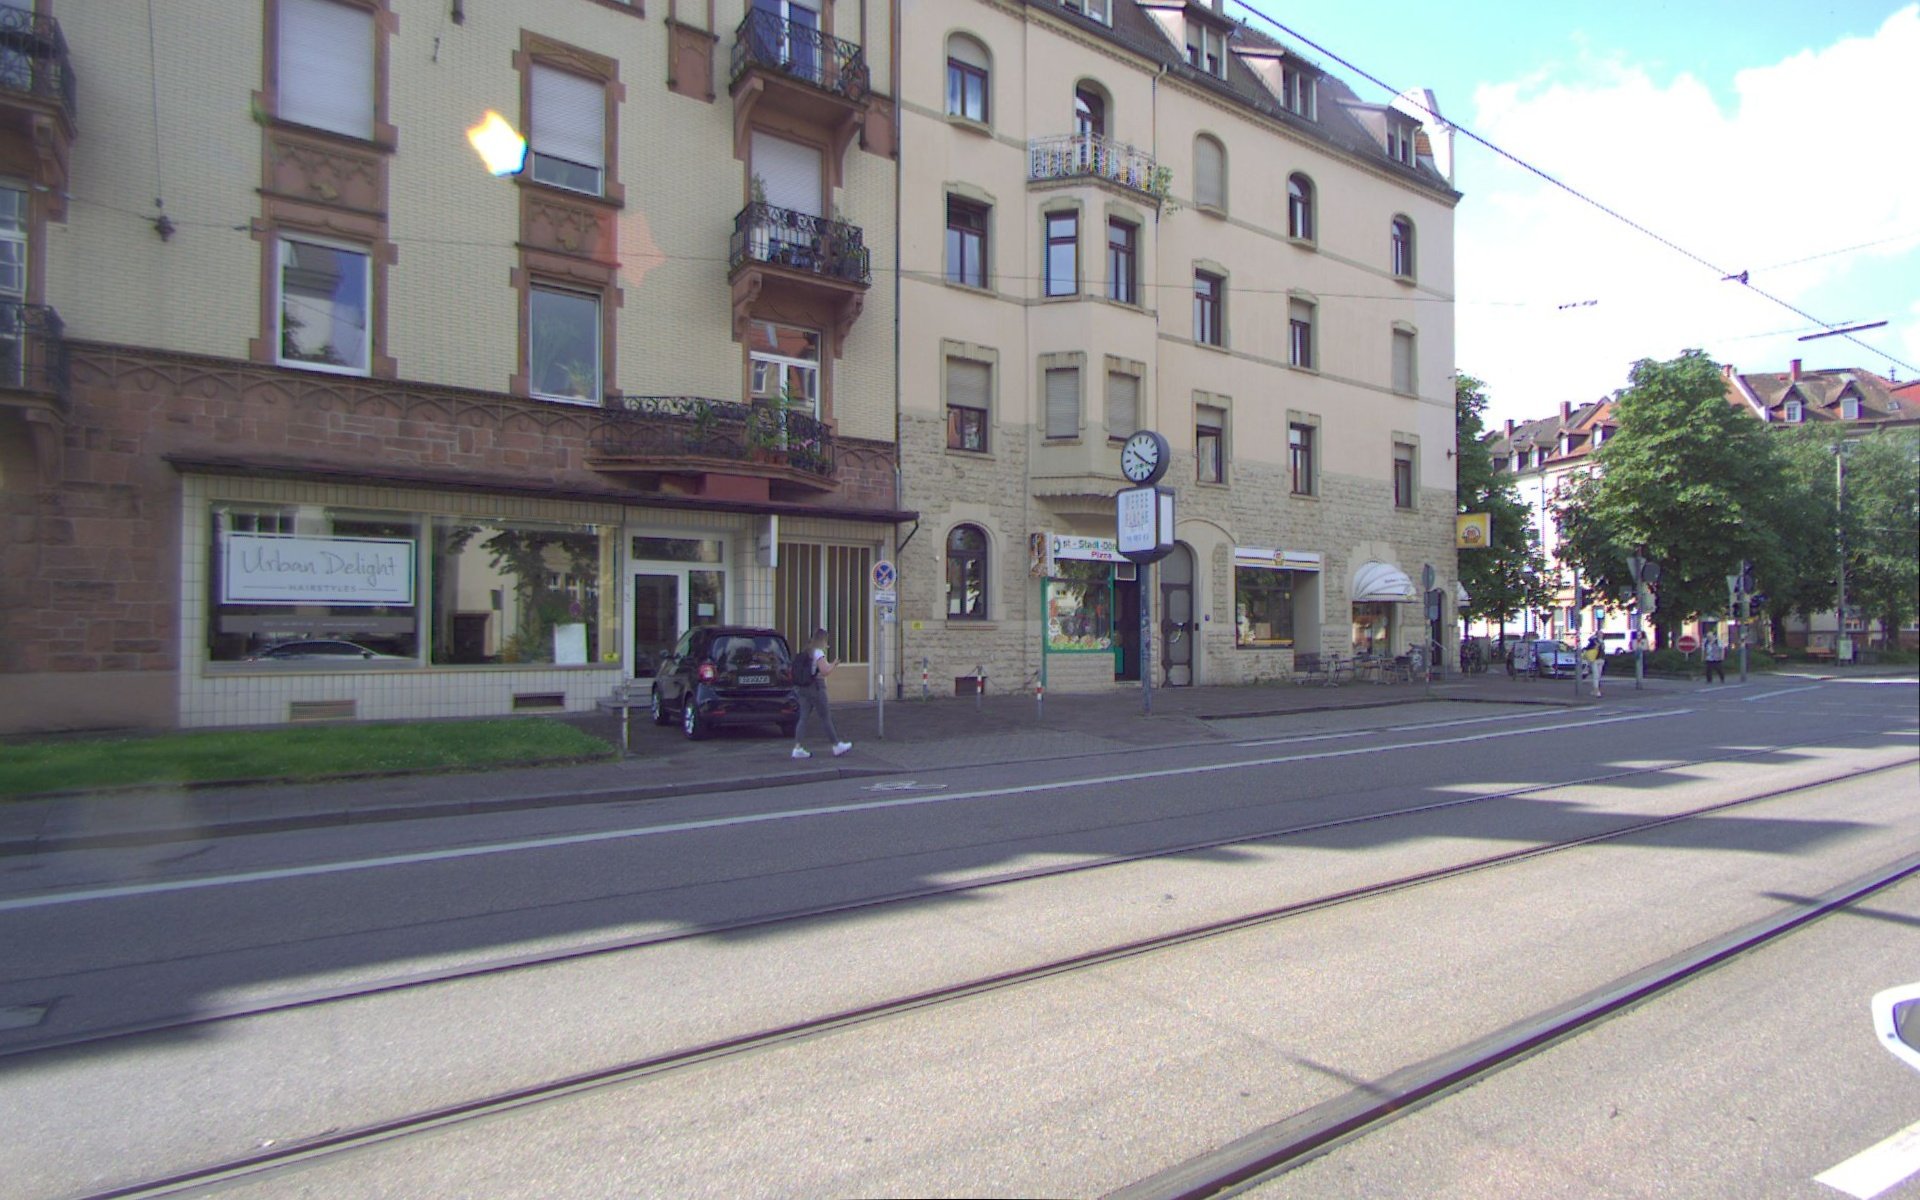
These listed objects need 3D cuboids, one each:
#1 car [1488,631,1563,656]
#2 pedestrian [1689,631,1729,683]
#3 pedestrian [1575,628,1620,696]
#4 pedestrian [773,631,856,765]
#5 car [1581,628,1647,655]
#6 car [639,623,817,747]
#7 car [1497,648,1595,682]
[{"bbox_3d":[38.076,2.923,67.732,1.976,1.617,3.970,1,-2,-29],"label":"car"},{"bbox_3d":[25.208,1.903,33.816,0.709,1.728,0.819,1,-2,-25],"label":"pedestrian"},{"bbox_3d":[17.011,1.638,26.804,0.785,1.777,0.685,0,-2,9],"label":"pedestrian"},{"bbox_3d":[-1.827,1.196,12.561,0.757,1.562,0.752,1,2,-33],"label":"pedestrian"},{"bbox_3d":[48.192,3.033,74.125,1.962,1.929,3.997,0,-2,-6],"label":"car"},{"bbox_3d":[-3.548,1.157,14.982,1.716,1.505,3.162,1,1,-30],"label":"car"},{"bbox_3d":[22.490,2.480,38.739,1.645,1.198,4.002,0,-2,4],"label":"car"}]
